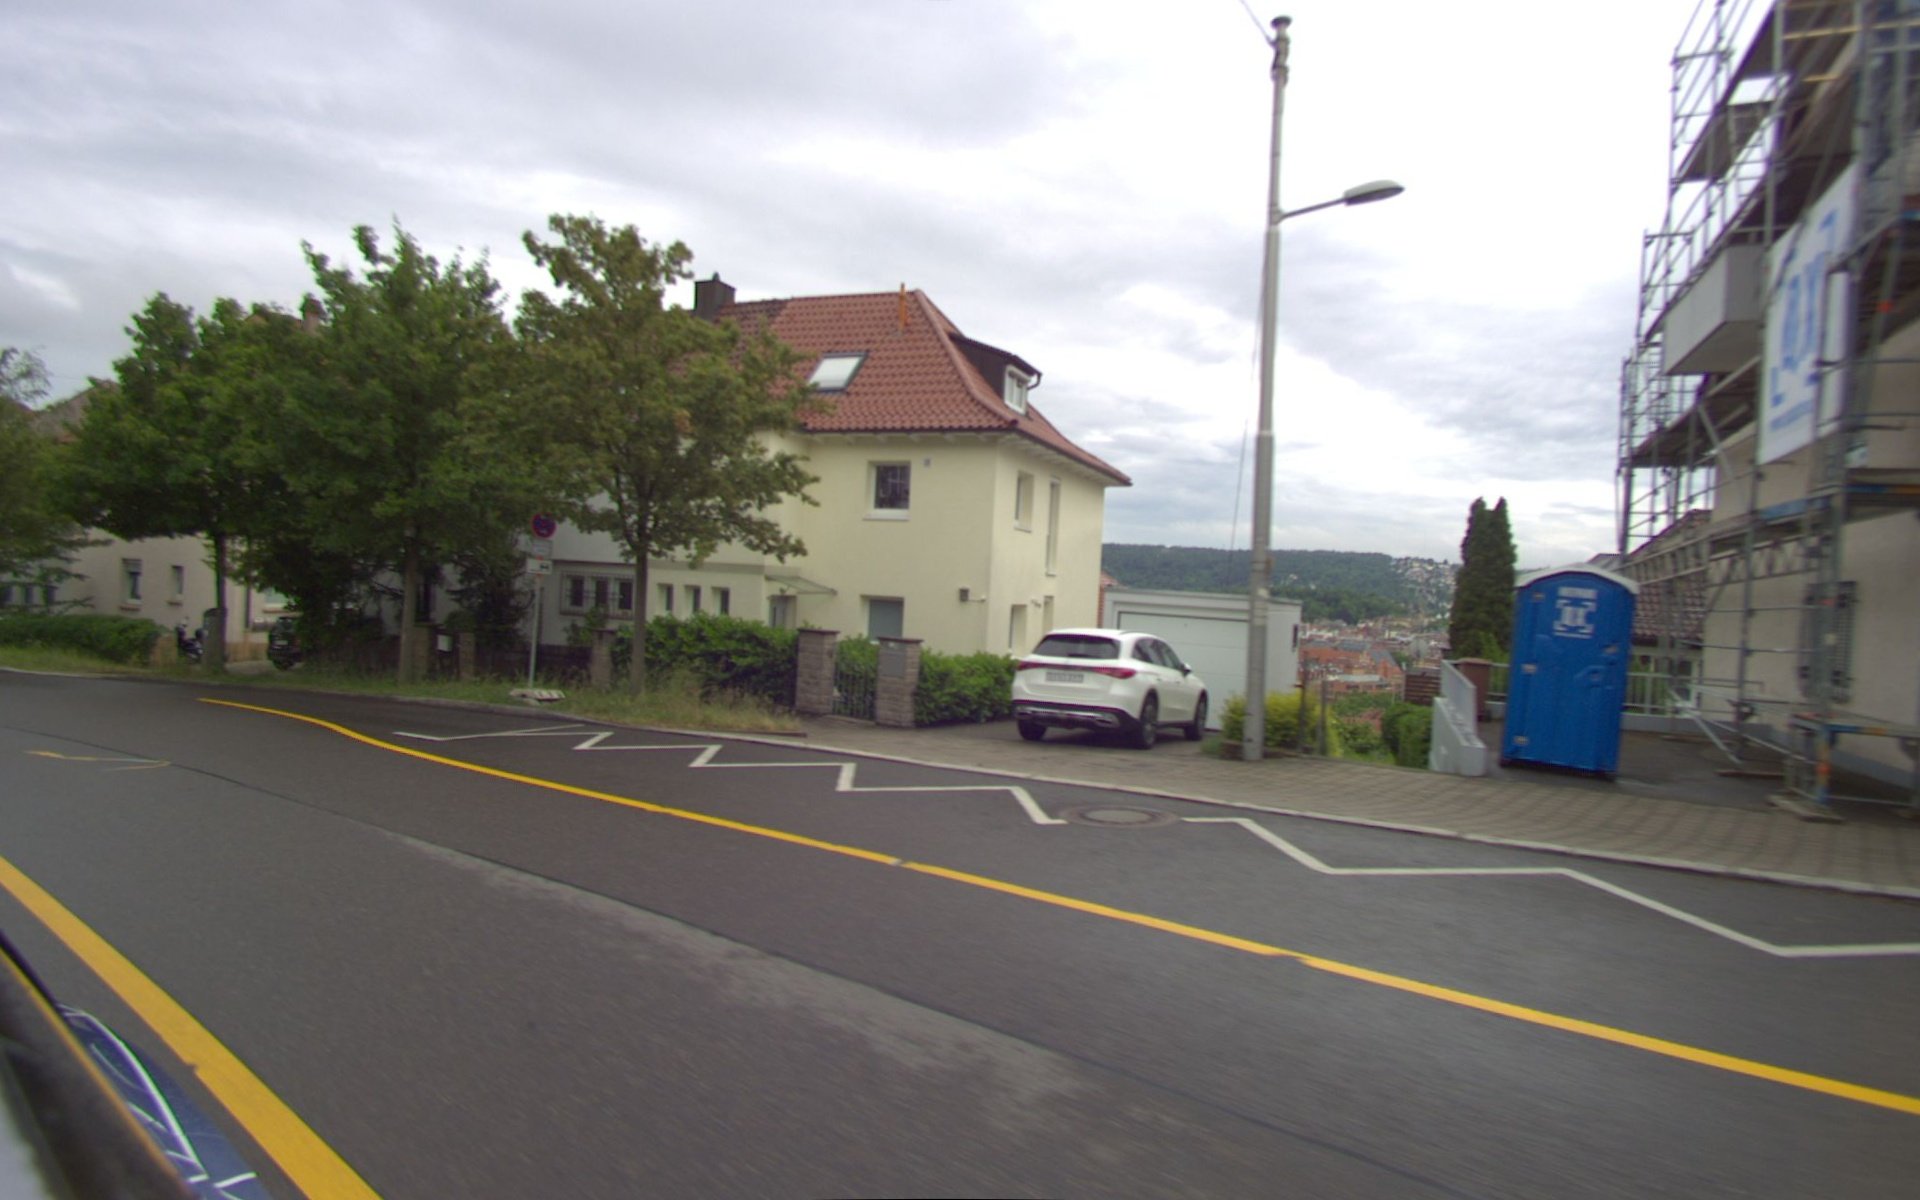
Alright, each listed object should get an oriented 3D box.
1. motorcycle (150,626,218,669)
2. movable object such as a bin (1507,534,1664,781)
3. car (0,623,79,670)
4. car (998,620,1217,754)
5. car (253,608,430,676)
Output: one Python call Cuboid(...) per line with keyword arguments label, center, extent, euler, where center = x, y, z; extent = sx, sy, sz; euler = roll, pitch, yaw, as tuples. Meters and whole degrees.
Cuboid(label="motorcycle", center=(-23.355, 1.419, 30.455), extent=(1.955, 1.258, 0.729), euler=(-1, 1, 22))
Cuboid(label="movable object such as a bin", center=(6.912, 0.605, 11.293), extent=(1.380, 2.525, 1.303), euler=(-1, -2, 29))
Cuboid(label="car", center=(-34.493, 1.575, 36.009), extent=(1.904, 1.516, 4.214), euler=(0, -7, 26))
Cuboid(label="car", center=(2.341, 1.231, 14.947), extent=(1.941, 1.616, 4.171), euler=(1, -3, 27))
Cuboid(label="car", center=(-17.620, 1.135, 29.034), extent=(1.854, 1.554, 3.919), euler=(0, 3, 26))
